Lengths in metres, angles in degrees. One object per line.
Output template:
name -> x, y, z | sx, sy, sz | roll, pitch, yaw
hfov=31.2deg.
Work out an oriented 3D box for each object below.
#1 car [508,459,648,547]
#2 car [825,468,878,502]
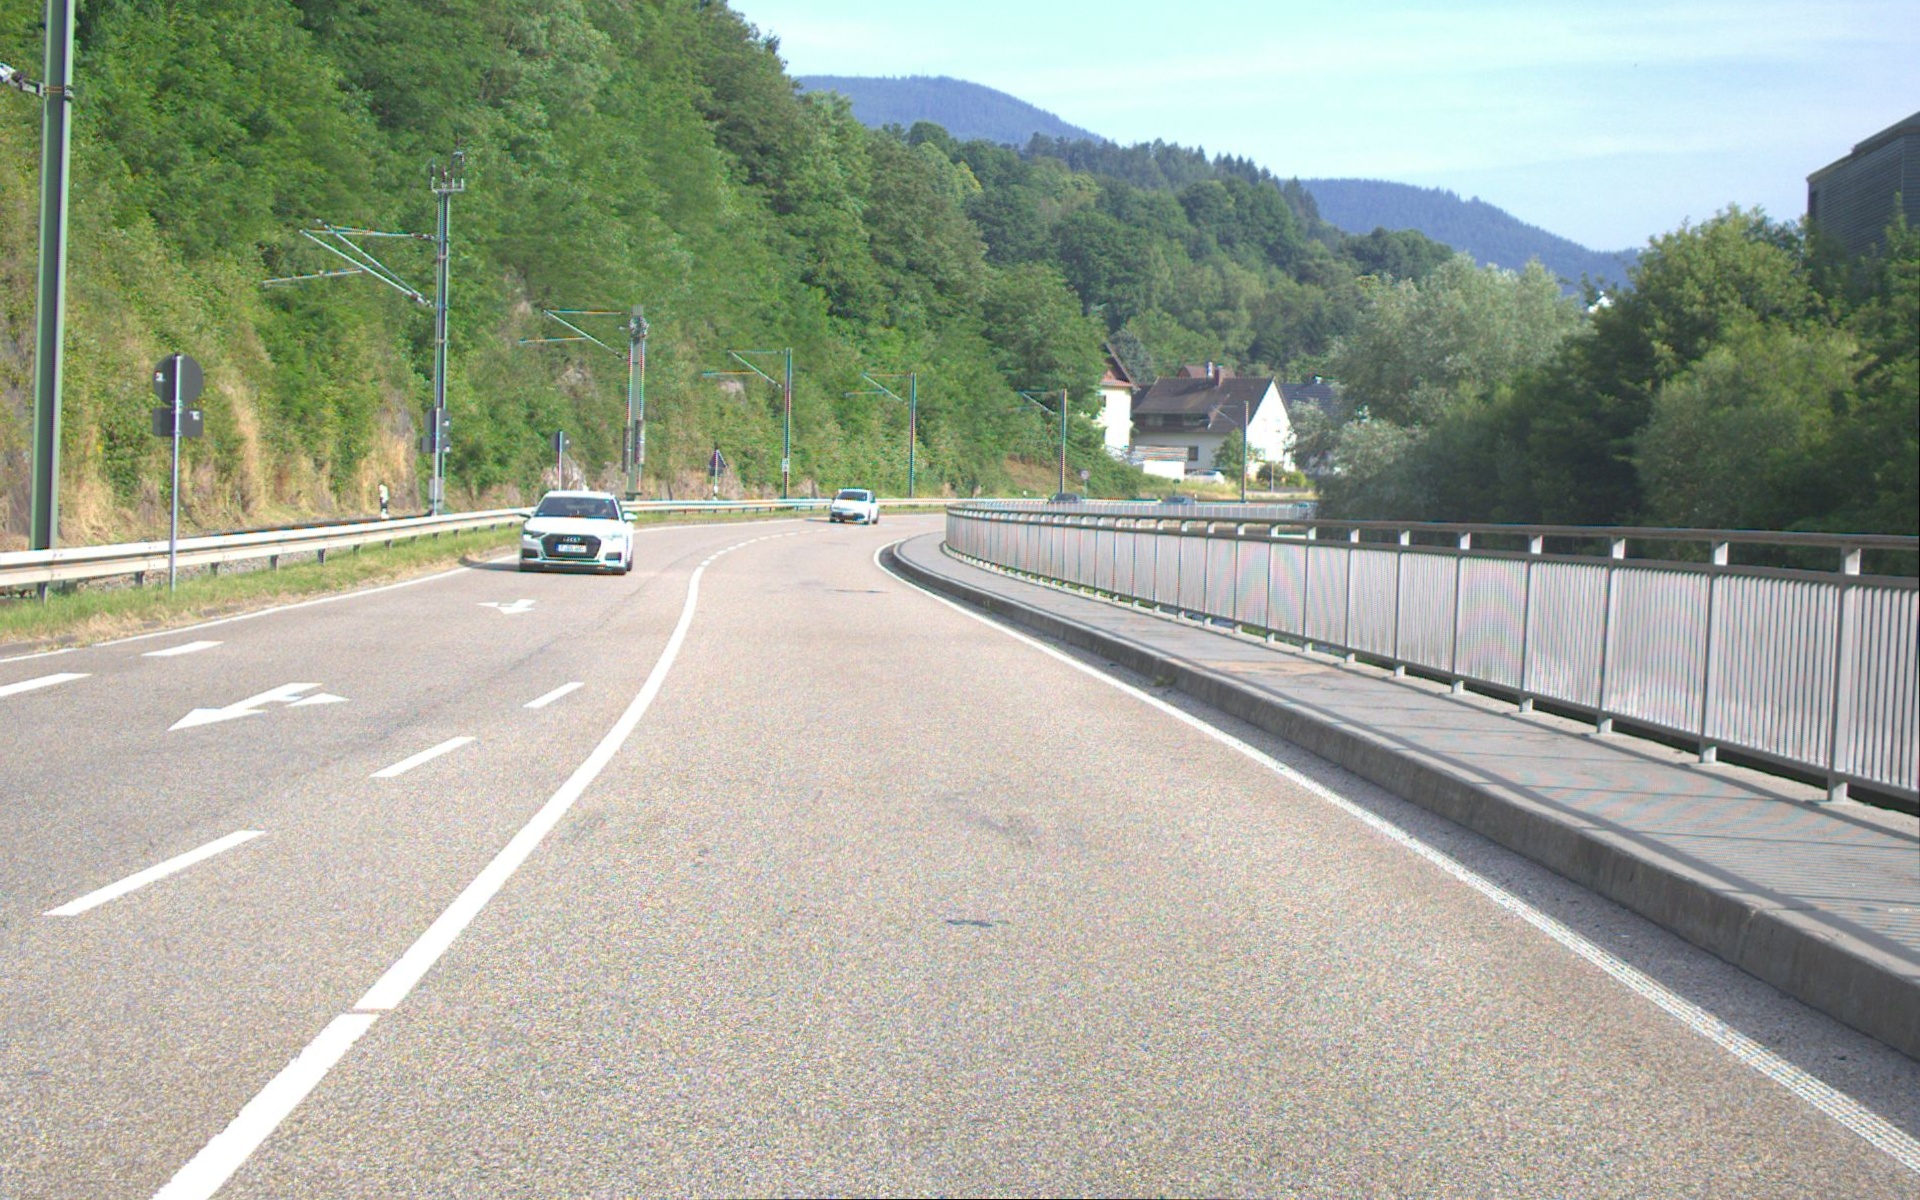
car -> -6.840, -1.776, 61.994 | 2.063, 1.434, 4.687 | 2, 2, -2
car -> -4.886, -5.220, 155.896 | 1.847, 1.538, 4.603 | 0, 2, 5
